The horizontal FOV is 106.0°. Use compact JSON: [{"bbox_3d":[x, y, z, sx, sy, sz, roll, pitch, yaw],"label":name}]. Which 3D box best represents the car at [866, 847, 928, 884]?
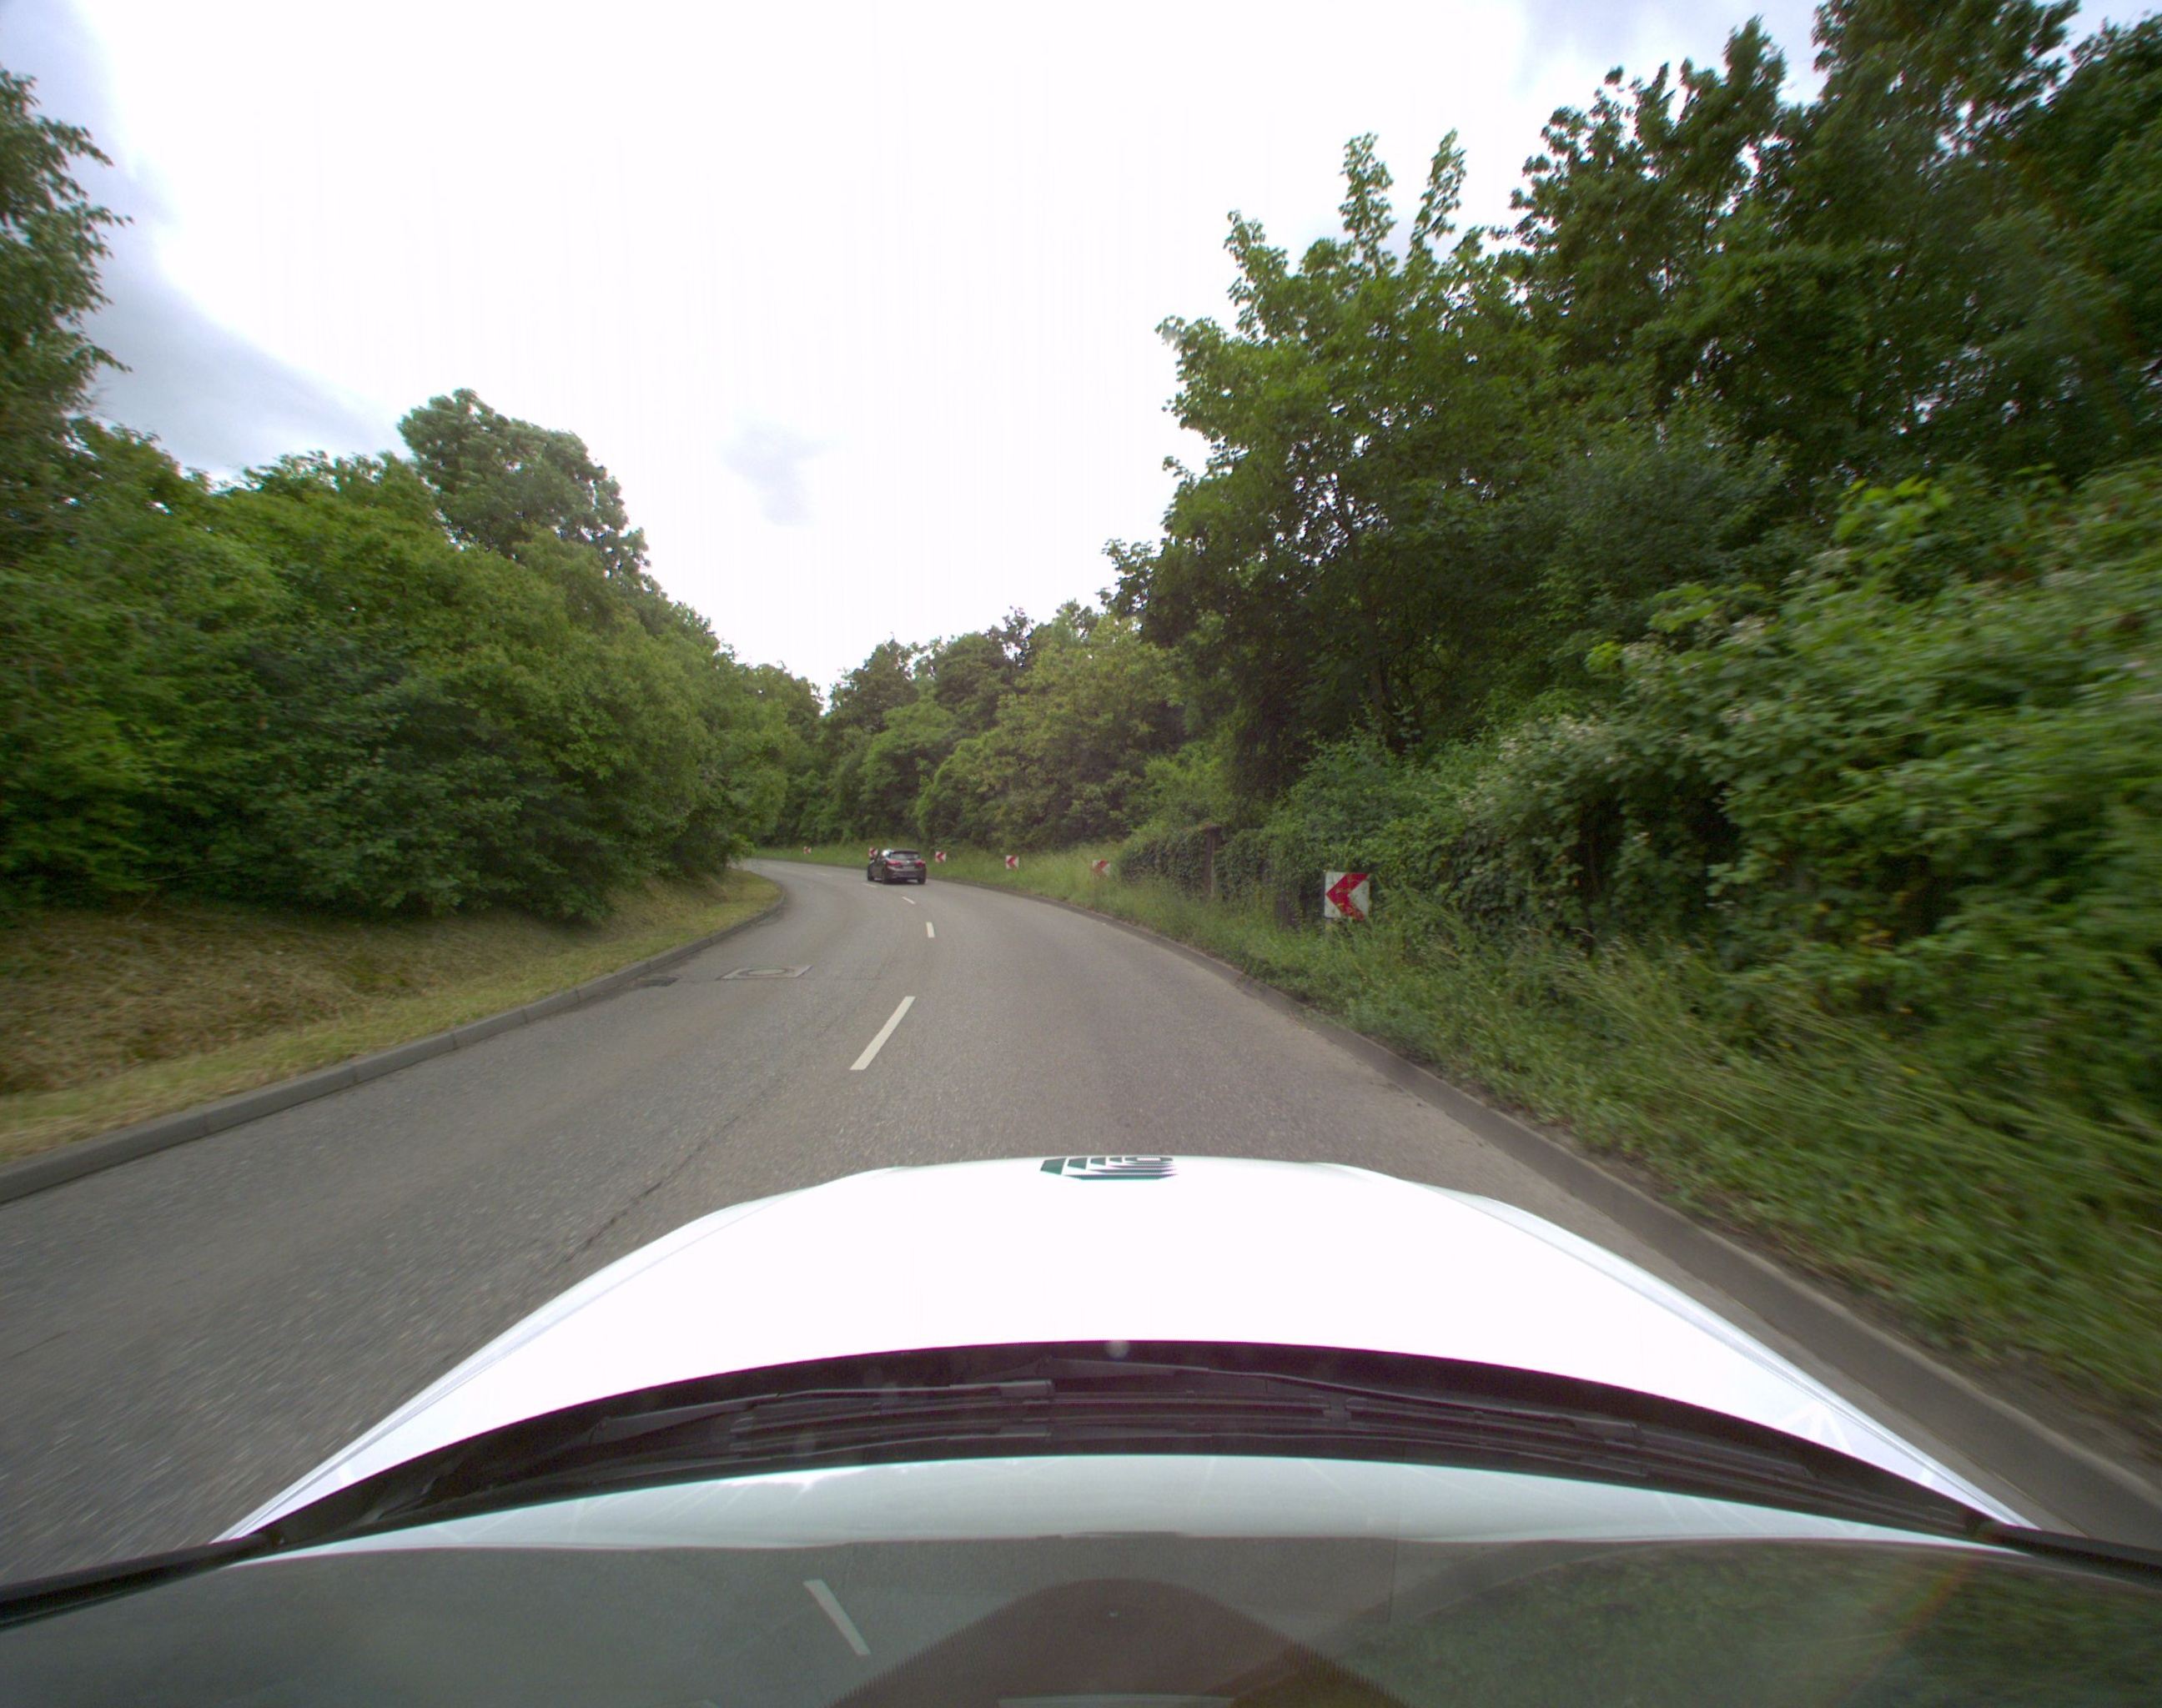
[{"bbox_3d":[-8.049,0.450,35.433,1.848,1.483,3.968,0,1,-25],"label":"car"}]
